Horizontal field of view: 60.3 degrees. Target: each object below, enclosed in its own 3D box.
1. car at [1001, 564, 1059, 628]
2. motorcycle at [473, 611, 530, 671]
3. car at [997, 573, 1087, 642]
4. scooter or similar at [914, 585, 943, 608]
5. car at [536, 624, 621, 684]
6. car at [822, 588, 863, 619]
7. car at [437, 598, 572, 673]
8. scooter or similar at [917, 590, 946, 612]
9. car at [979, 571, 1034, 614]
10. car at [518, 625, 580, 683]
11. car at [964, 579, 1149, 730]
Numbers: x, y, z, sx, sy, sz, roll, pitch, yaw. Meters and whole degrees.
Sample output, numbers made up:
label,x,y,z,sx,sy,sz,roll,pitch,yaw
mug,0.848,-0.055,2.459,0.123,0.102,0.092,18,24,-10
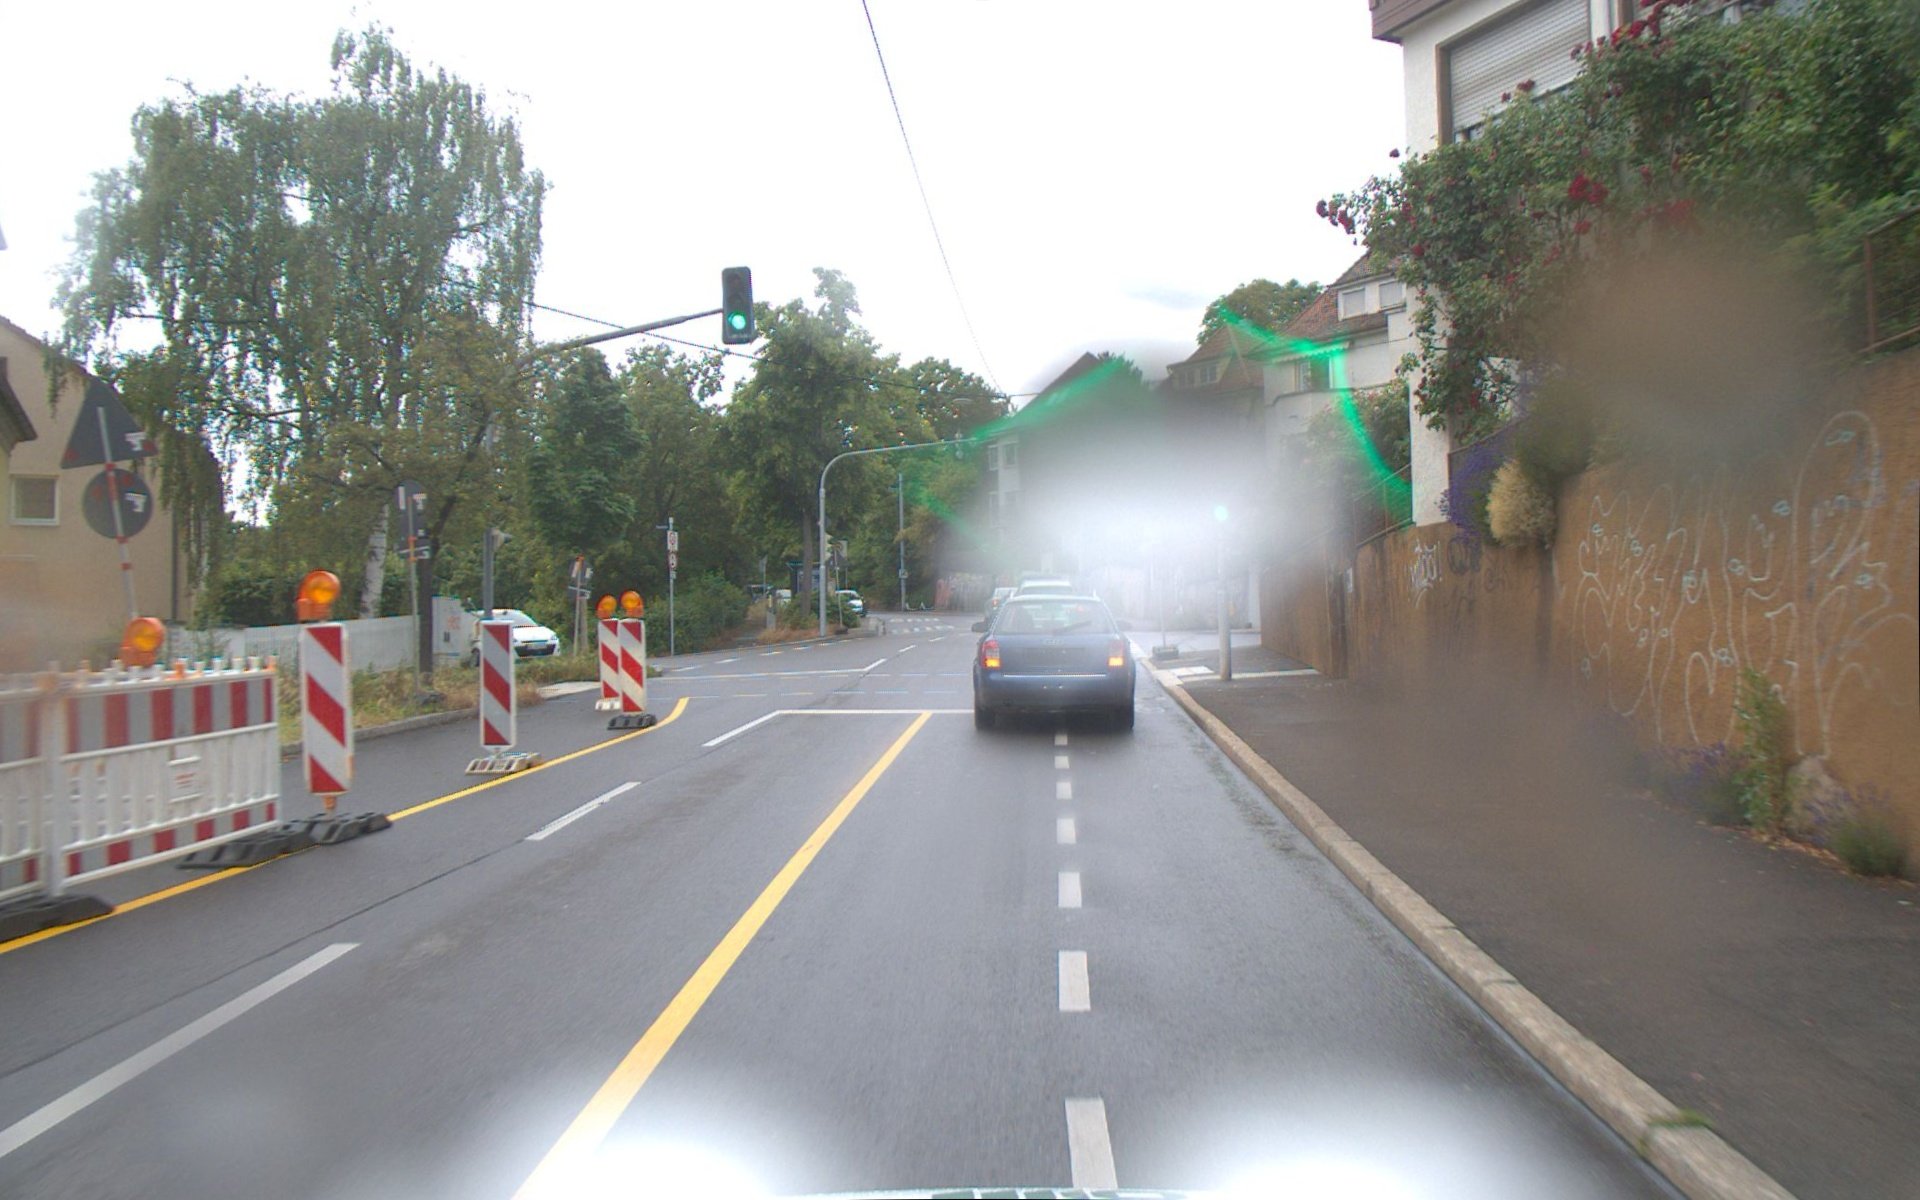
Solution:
label,x,y,z,sx,sy,sz,roll,pitch,yaw
car,2.249,-0.146,53.340,1.694,1.927,4.057,-3,1,2
motorcycle,-9.299,0.816,33.602,0.578,1.150,1.843,-2,0,1
car,1.850,0.177,36.783,1.869,1.413,4.352,1,-1,3
scooter or similar,-2.054,-0.224,108.298,1.800,1.338,0.598,3,-3,-9
car,-13.231,1.818,57.188,1.821,1.780,3.962,-3,2,-29
car,-5.934,0.171,83.087,1.643,1.451,3.992,-3,1,-9
car,-11.126,0.891,40.230,1.673,1.535,3.955,-4,-1,-39
scooter or similar,-1.868,0.044,109.362,1.800,1.338,0.598,3,-3,-9
car,1.838,-0.301,66.920,1.732,1.597,4.026,-3,1,-5
car,-15.410,1.983,61.916,1.723,2.049,3.973,0,-1,-22
car,1.186,0.520,18.519,1.739,1.464,4.004,0,1,8
